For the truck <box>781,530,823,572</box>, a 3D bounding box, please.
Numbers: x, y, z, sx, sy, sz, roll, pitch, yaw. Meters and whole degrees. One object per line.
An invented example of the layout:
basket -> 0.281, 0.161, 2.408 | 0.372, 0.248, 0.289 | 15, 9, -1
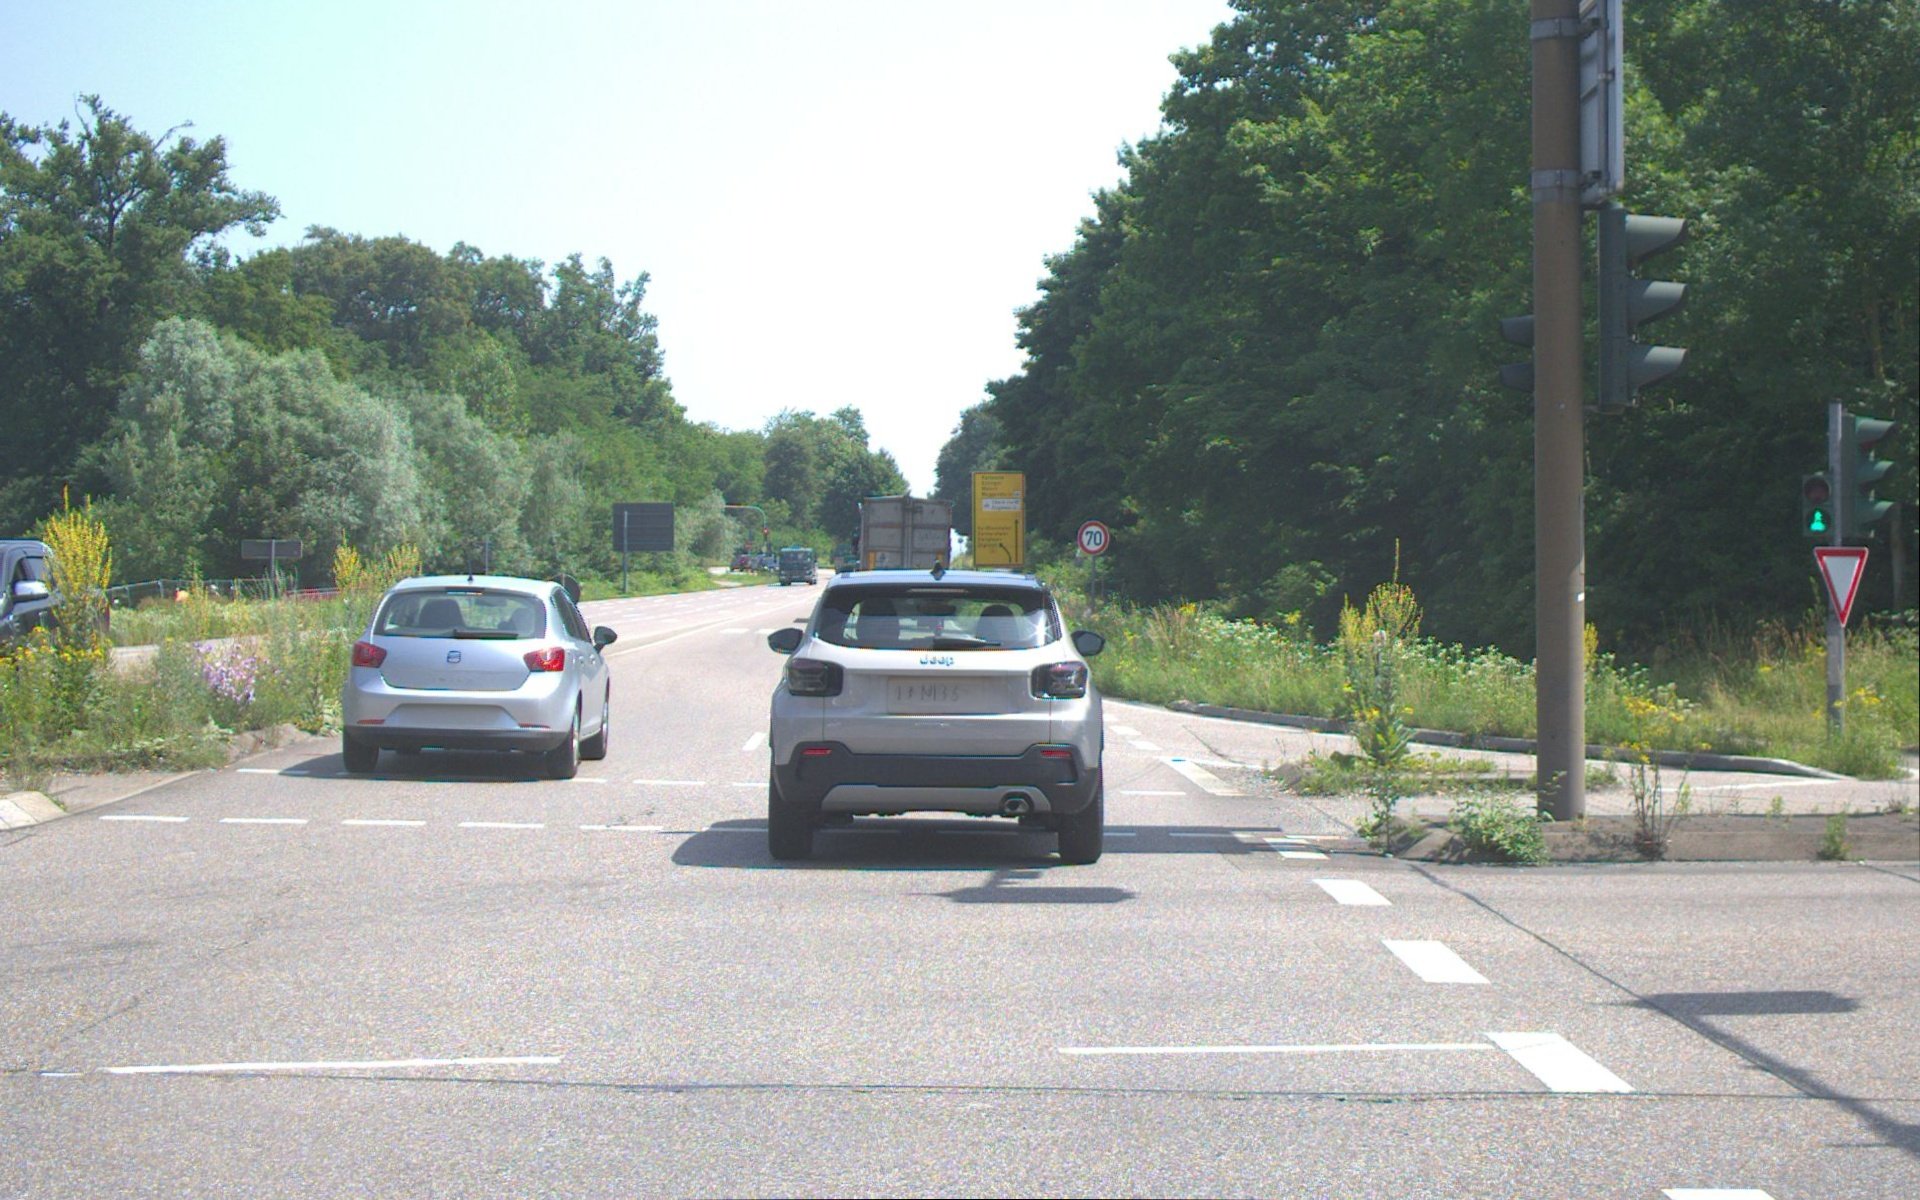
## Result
truck -> -10.642, -3.314, 232.023 | 2.454, 2.647, 6.491 | -2, 1, 0

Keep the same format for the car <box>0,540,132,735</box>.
car -> -9.246, 0.322, 31.428 | 1.993, 1.672, 5.365 | -1, 1, 0

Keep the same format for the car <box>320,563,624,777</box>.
car -> -3.549, 0.462, 25.606 | 1.666, 1.425, 3.828 | 1, 1, 0

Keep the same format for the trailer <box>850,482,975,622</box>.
trailer -> -1.351, -1.412, 104.830 | 3.383, 3.975, 10.803 | 1, 0, 1

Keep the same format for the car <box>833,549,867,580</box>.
car -> -7.300, -2.350, 228.393 | 1.993, 2.007, 4.553 | -1, 1, 2

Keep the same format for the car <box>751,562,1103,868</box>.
car -> -0.152, 0.562, 19.439 | 1.767, 1.529, 4.000 | 1, 1, 0
